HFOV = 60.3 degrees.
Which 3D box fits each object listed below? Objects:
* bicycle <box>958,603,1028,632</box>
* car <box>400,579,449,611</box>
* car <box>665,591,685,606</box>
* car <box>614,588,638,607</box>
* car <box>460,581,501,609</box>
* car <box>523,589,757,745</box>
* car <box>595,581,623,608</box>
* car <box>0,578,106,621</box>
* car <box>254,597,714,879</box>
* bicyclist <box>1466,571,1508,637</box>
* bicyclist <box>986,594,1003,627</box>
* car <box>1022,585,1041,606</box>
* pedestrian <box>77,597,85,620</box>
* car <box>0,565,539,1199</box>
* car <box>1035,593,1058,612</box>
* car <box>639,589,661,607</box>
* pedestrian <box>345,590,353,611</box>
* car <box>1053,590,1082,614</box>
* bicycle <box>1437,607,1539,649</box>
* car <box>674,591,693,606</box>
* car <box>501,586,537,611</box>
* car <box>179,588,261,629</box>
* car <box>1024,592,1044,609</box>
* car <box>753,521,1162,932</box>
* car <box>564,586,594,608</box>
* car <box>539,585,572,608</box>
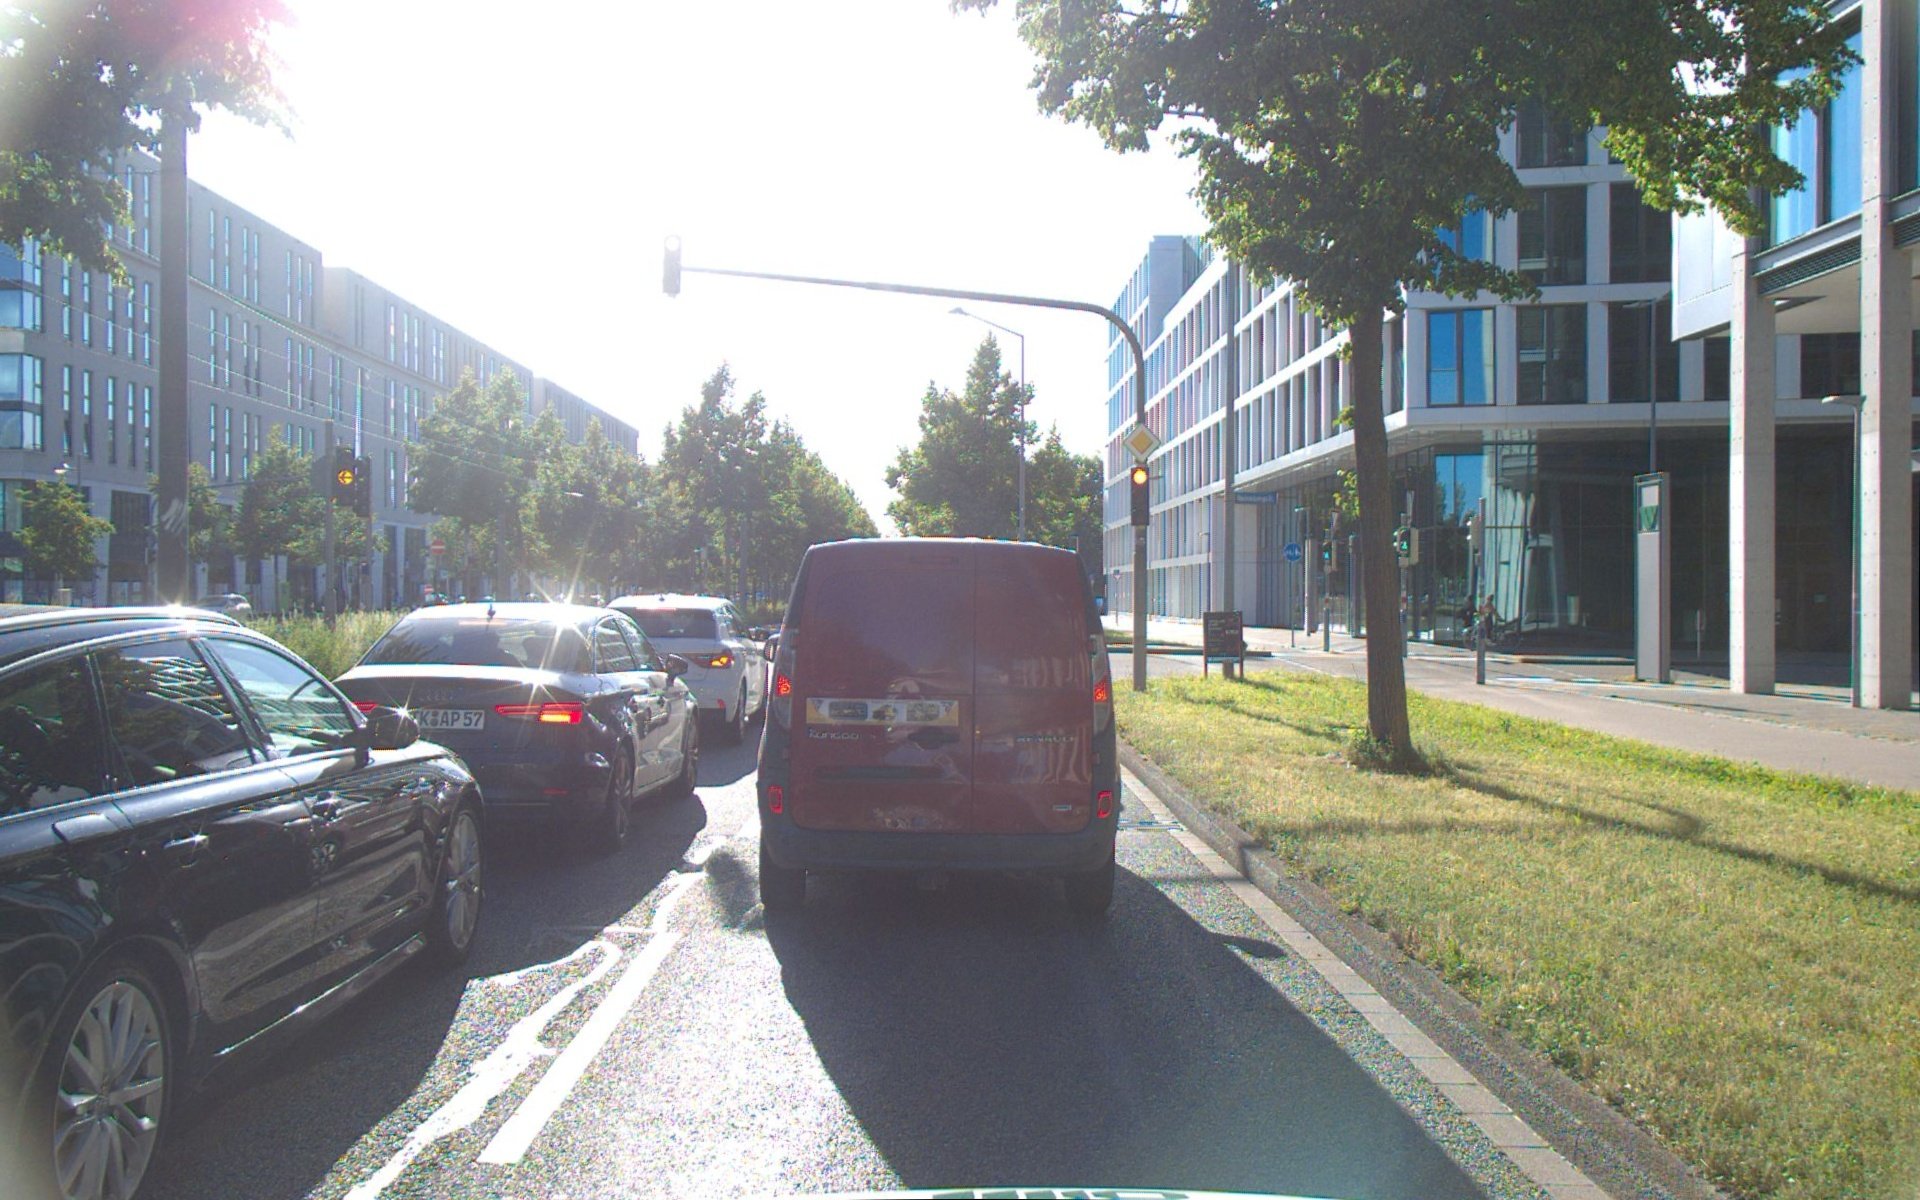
[{"bbox_3d":[1.303,0.687,65.978,2.778,1.134,0.821,0,0,1],"label":"bicycle"},{"bbox_3d":[-35.277,-0.316,109.098,1.953,2.049,3.999,0,0,-1],"label":"car"},{"bbox_3d":[-37.351,-0.216,216.663,1.953,2.049,3.999,0,0,-1],"label":"car"},{"bbox_3d":[-36.714,-0.277,181.841,1.953,2.049,3.999,0,0,-1],"label":"car"},{"bbox_3d":[-35.828,-0.386,123.627,1.953,2.049,3.999,0,0,-1],"label":"car"},{"bbox_3d":[-3.240,0.620,17.483,1.767,1.451,3.900,0,0,-1],"label":"car"},{"bbox_3d":[-35.596,-0.566,167.804,1.953,2.653,3.999,0,0,-1],"label":"car"},{"bbox_3d":[-33.189,-0.033,60.640,1.729,1.546,3.999,0,0,-1],"label":"car"},{"bbox_3d":[-2.802,0.716,10.806,1.804,1.451,4.338,0,0,-1],"label":"car"},{"bbox_3d":[16.048,0.110,50.403,0.984,1.981,0.813,0,0,41],"label":"bicyclist"},{"bbox_3d":[1.387,0.423,65.992,0.666,1.297,0.821,0,0,0],"label":"bicyclist"},{"bbox_3d":[8.585,-0.526,198.452,1.953,2.540,4.986,0,0,-1],"label":"car"},{"bbox_3d":[-43.543,0.421,81.940,0.248,1.104,0.260,0,0,-1],"label":"pedestrian"},{"bbox_3d":[-2.766,0.679,5.063,1.836,1.510,4.965,0,0,-2],"label":"car"},{"bbox_3d":[8.427,0.226,160.730,1.953,1.813,3.999,0,0,-1],"label":"car"},{"bbox_3d":[-37.211,-0.256,198.648,1.953,2.049,3.999,0,0,-1],"label":"car"},{"bbox_3d":[-42.748,0.015,115.779,0.458,1.463,0.384,0,0,-35],"label":"pedestrian"},{"bbox_3d":[8.333,0.139,128.110,1.953,1.813,3.999,0,0,-1],"label":"car"},{"bbox_3d":[16.062,0.839,50.387,2.898,1.211,0.813,0,0,42],"label":"bicycle"},{"bbox_3d":[-37.163,-0.194,222.289,1.953,2.049,3.999,0,0,-1],"label":"car"},{"bbox_3d":[-36.239,-0.149,135.933,1.953,2.049,3.999,0,0,-1],"label":"car"},{"bbox_3d":[-34.736,0.370,77.760,1.953,1.845,4.369,0,0,-1],"label":"car"},{"bbox_3d":[8.071,0.057,179.925,1.953,1.813,3.999,0,0,-1],"label":"car"},{"bbox_3d":[-0.039,0.552,9.329,1.804,1.812,3.999,0,0,-1],"label":"car"},{"bbox_3d":[-36.378,-0.323,157.861,1.953,2.049,3.999,0,0,-1],"label":"car"},{"bbox_3d":[-36.360,-0.346,148.761,1.953,2.049,3.999,0,0,-1],"label":"car"}]
